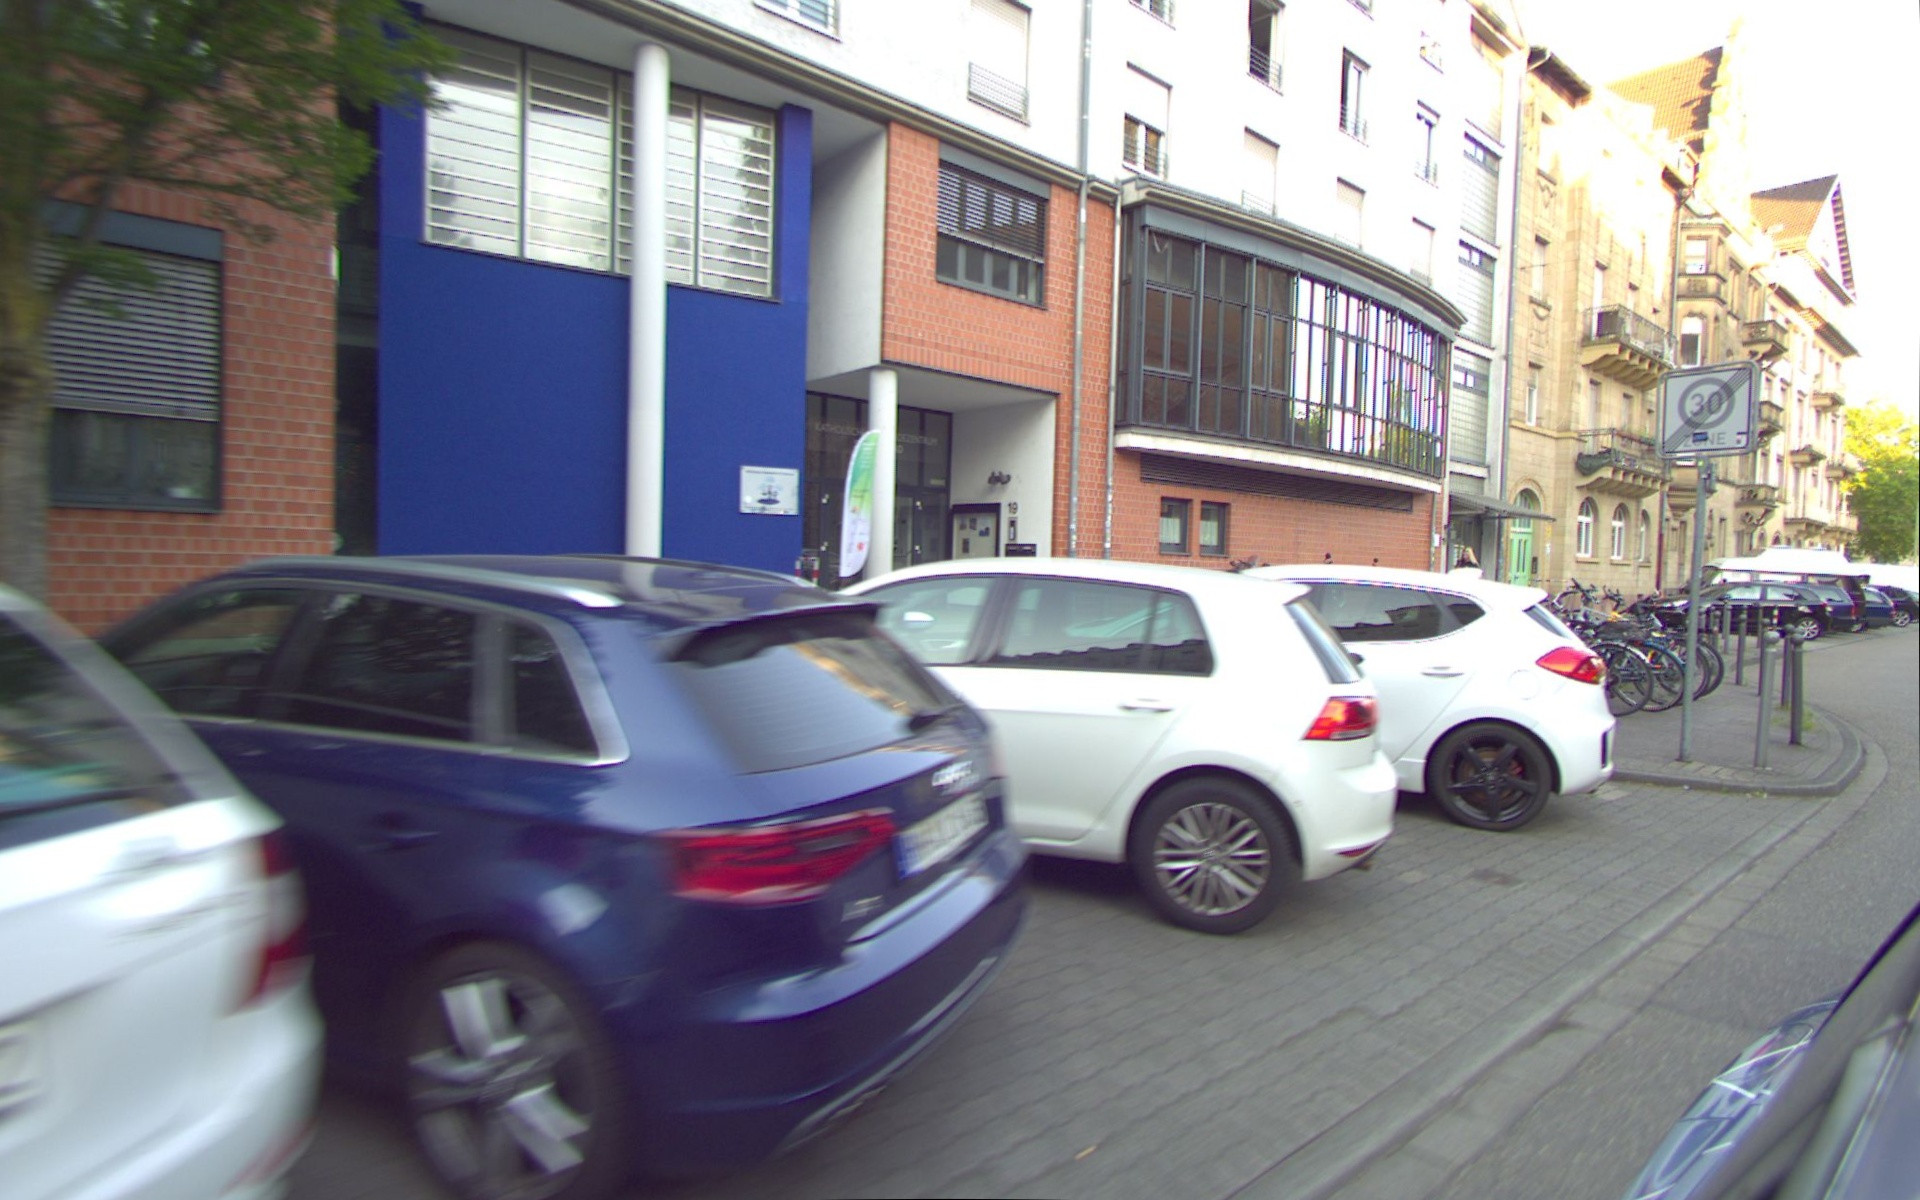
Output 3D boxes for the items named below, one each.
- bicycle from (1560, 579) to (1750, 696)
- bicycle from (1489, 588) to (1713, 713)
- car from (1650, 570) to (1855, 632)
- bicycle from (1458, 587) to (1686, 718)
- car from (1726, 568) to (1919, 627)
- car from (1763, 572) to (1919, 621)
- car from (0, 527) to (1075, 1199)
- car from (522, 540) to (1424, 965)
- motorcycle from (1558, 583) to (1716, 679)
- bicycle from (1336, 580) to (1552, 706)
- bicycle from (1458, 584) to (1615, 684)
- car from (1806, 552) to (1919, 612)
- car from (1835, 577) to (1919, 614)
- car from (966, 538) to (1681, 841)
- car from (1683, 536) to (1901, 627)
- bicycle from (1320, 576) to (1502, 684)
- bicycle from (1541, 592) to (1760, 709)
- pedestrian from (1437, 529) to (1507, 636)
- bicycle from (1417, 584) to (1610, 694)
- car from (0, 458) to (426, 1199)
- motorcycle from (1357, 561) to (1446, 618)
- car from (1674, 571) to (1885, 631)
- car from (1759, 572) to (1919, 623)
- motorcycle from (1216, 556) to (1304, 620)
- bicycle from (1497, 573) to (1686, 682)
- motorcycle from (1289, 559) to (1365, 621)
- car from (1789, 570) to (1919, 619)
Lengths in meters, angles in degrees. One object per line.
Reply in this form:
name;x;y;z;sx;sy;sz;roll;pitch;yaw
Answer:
bicycle;8.119;0.397;11.891;0.464;1.190;1.711;0;4;-41
bicycle;6.609;0.473;10.532;0.438;1.078;1.861;0;4;-41
car;21.584;-0.010;27.755;4.018;1.510;1.714;2;2;19
bicycle;6.083;0.475;10.172;0.438;1.078;1.861;0;4;-41
car;27.712;-0.119;32.600;4.344;1.504;1.833;5;4;20
car;33.294;-0.162;38.362;4.000;1.516;1.747;4;4;15
car;-1.755;0.566;3.290;3.949;1.541;1.700;2;4;19
car;0.040;0.476;5.171;3.946;1.490;1.867;2;4;17
motorcycle;9.122;0.384;13.677;1.644;1.114;0.637;6;4;41
bicycle;4.931;0.393;10.437;0.515;1.078;1.915;0;4;-41
bicycle;7.018;0.382;12.377;0.464;1.051;1.543;0;4;-41
car;44.262;-0.837;48.024;5.789;2.581;2.192;3;4;9
car;42.687;-0.182;45.738;4.189;1.470;1.994;3;4;12
car;2.195;0.402;6.832;3.952;1.525;1.759;2;2;21
car;25.294;-0.617;31.011;4.669;2.577;1.906;2;3;21
bicycle;5.253;0.308;11.899;0.515;1.078;1.861;0;4;-41
bicycle;7.442;0.500;11.001;0.464;1.051;1.861;0;4;-41
pedestrian;10.336;-0.360;20.438;0.842;2.033;0.610;-1;13;-40
bicycle;6.279;0.400;11.586;0.395;1.051;1.861;0;4;-41
car;-3.077;0.538;1.696;3.949;1.556;1.626;2;2;20
motorcycle;9.838;-0.242;22.488;2.398;1.153;0.801;0;5;-41
car;23.519;-0.021;29.269;4.306;1.521;1.900;2;2;22
car;31.699;-0.139;36.498;3.979;1.448;1.860;4;4;16
motorcycle;5.677;-0.238;19.085;2.050;1.116;0.589;-1;6;-44
bicycle;8.031;0.306;12.943;0.647;1.159;1.864;0;5;-40
motorcycle;7.501;-0.232;20.598;0.773;1.153;2.385;4;4;36
car;35.758;-0.219;40.032;4.036;1.626;1.811;4;4;12
